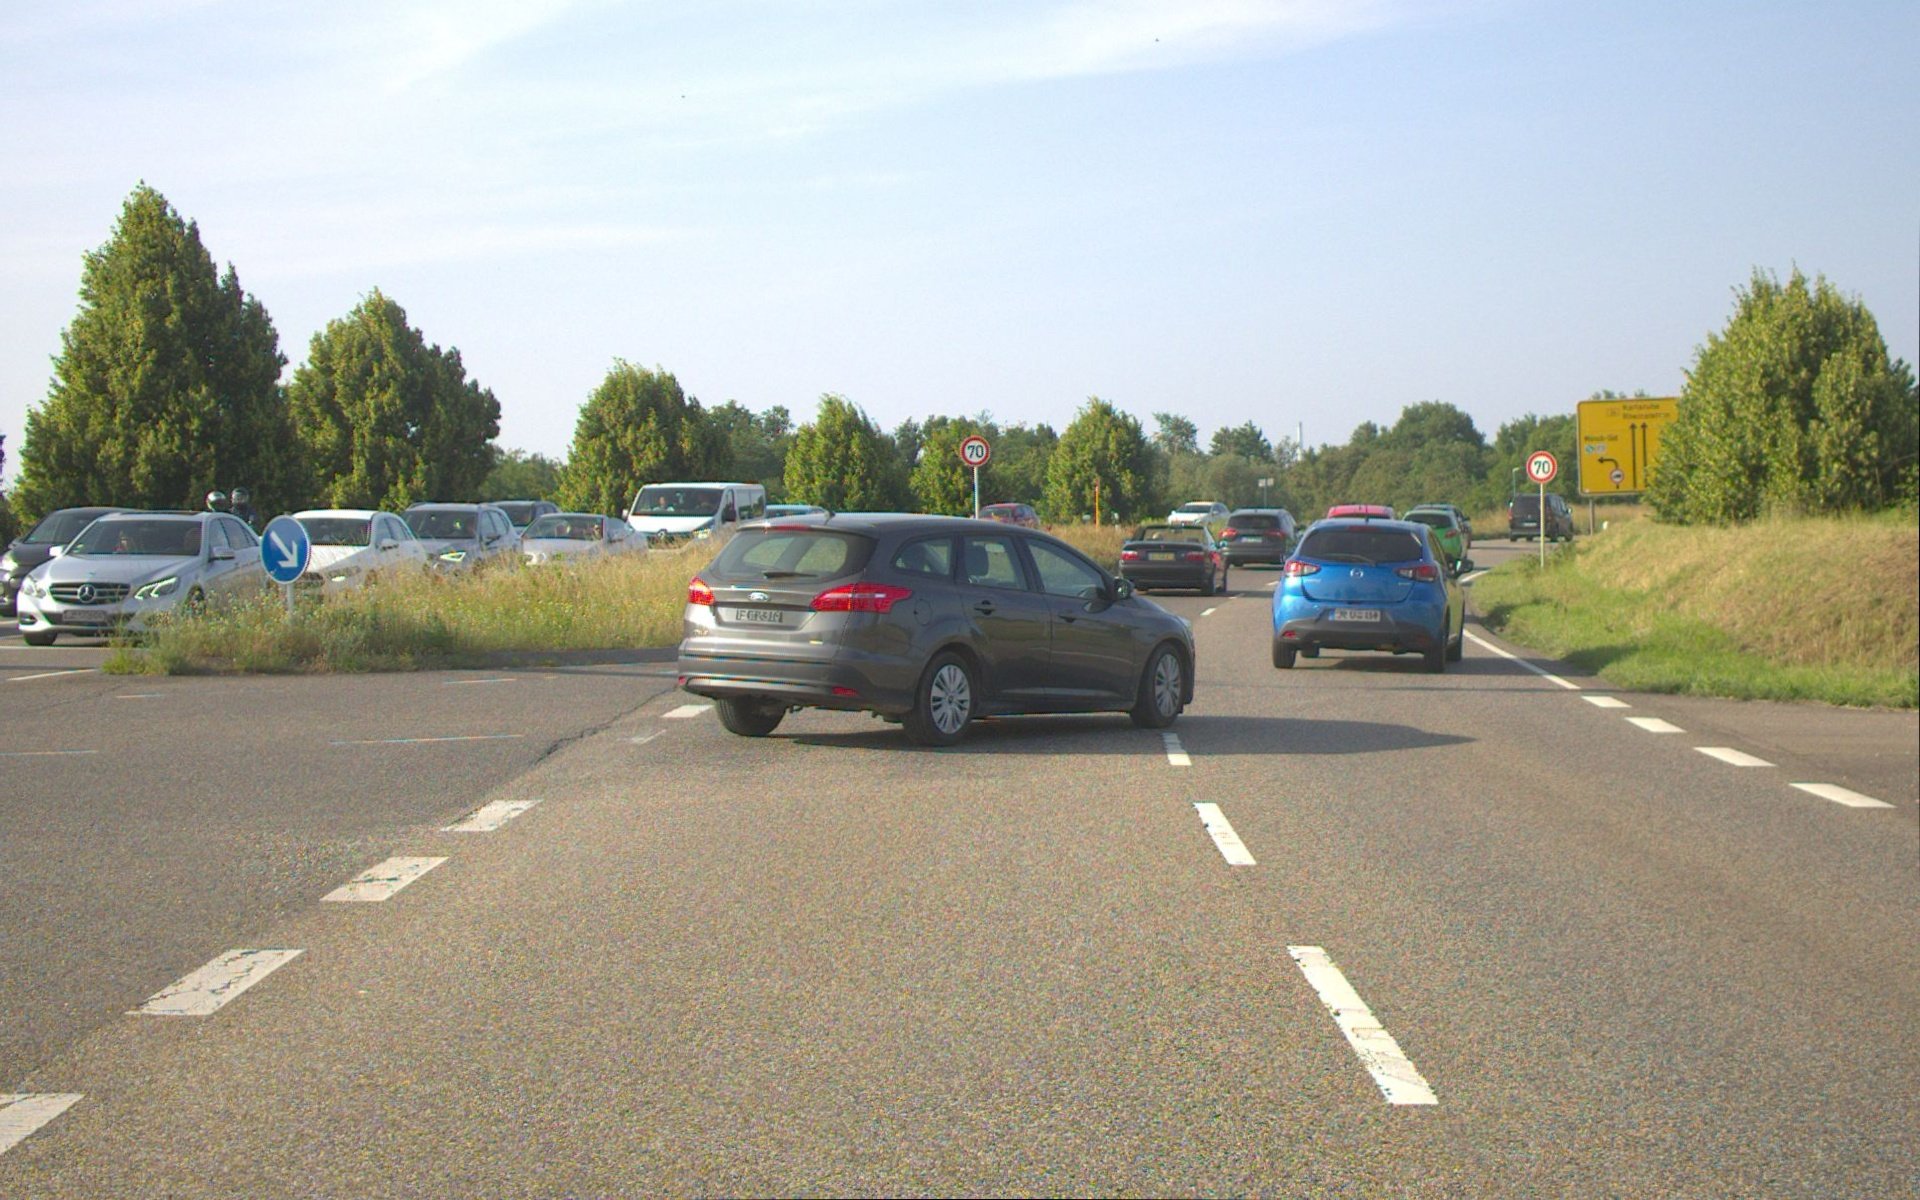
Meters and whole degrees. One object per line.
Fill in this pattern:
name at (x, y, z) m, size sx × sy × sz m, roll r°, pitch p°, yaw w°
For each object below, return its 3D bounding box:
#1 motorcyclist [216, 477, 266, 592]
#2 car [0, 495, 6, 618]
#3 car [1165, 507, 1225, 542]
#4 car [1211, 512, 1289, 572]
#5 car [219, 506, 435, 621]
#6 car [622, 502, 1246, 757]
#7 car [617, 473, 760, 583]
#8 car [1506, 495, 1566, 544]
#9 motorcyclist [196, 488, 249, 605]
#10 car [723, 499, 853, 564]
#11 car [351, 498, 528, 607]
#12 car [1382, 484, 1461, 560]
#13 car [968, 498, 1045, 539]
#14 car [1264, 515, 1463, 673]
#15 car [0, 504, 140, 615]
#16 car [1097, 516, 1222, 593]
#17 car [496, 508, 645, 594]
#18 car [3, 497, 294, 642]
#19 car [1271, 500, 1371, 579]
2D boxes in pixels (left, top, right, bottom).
motorcyclist at (-11.391, -1.044, 54.488) m, size 0.662 × 1.810 × 0.605 m, roll -1°, pitch 1°, yaw -3°
car at (-12.573, -0.473, 39.748) m, size 1.721 × 1.483 × 3.804 m, roll 0°, pitch 1°, yaw 5°
car at (9.534, -3.057, 139.159) m, size 1.787 × 1.381 × 4.049 m, roll 0°, pitch 1°, yaw 13°
car at (6.992, -1.392, 83.170) m, size 1.836 × 1.372 × 4.277 m, roll 0°, pitch 0°, yaw 4°
car at (-8.326, -0.514, 45.588) m, size 1.786 × 1.428 × 4.309 m, roll 0°, pitch 1°, yaw 4°
car at (-0.067, 0.134, 23.338) m, size 1.814 × 1.560 × 4.521 m, roll 1°, pitch 1°, yaw 38°
car at (-5.279, -1.415, 67.346) m, size 1.926 × 2.071 × 4.242 m, roll 0°, pitch 1°, yaw 7°
car at (21.675, -3.023, 129.473) m, size 1.909 × 1.728 × 4.277 m, roll 0°, pitch 0°, yaw 5°
motorcyclist at (-11.082, -0.804, 51.668) m, size 0.662 × 1.741 × 0.605 m, roll -1°, pitch 1°, yaw -3°
car at (-3.763, -1.527, 76.032) m, size 1.787 × 1.381 × 4.049 m, roll 0°, pitch 1°, yaw 13°
car at (-7.798, -0.741, 51.853) m, size 1.786 × 1.563 × 4.051 m, roll 0°, pitch 1°, yaw 4°
car at (11.501, -1.923, 85.695) m, size 1.909 × 1.794 × 4.277 m, roll 0°, pitch 0°, yaw 8°
car at (1.628, -2.834, 119.194) m, size 1.787 × 1.381 × 4.049 m, roll 0°, pitch 1°, yaw 13°
car at (4.123, -0.109, 34.711) m, size 1.773 × 1.487 × 3.983 m, roll 0°, pitch 1°, yaw 10°
car at (-12.657, -0.570, 46.753) m, size 1.786 × 1.428 × 4.051 m, roll 0°, pitch 1°, yaw 4°
car at (3.609, -0.782, 61.422) m, size 1.909 × 1.318 × 4.277 m, roll 0°, pitch 0°, yaw 8°
car at (-6.541, -0.850, 58.086) m, size 1.786 × 1.381 × 4.051 m, roll 0°, pitch 1°, yaw 4°
car at (-8.822, -0.373, 37.791) m, size 1.786 × 1.483 × 4.651 m, roll 0°, pitch 1°, yaw 4°
car at (7.414, -1.220, 70.874) m, size 1.895 × 1.559 × 4.277 m, roll 0°, pitch 0°, yaw 4°
